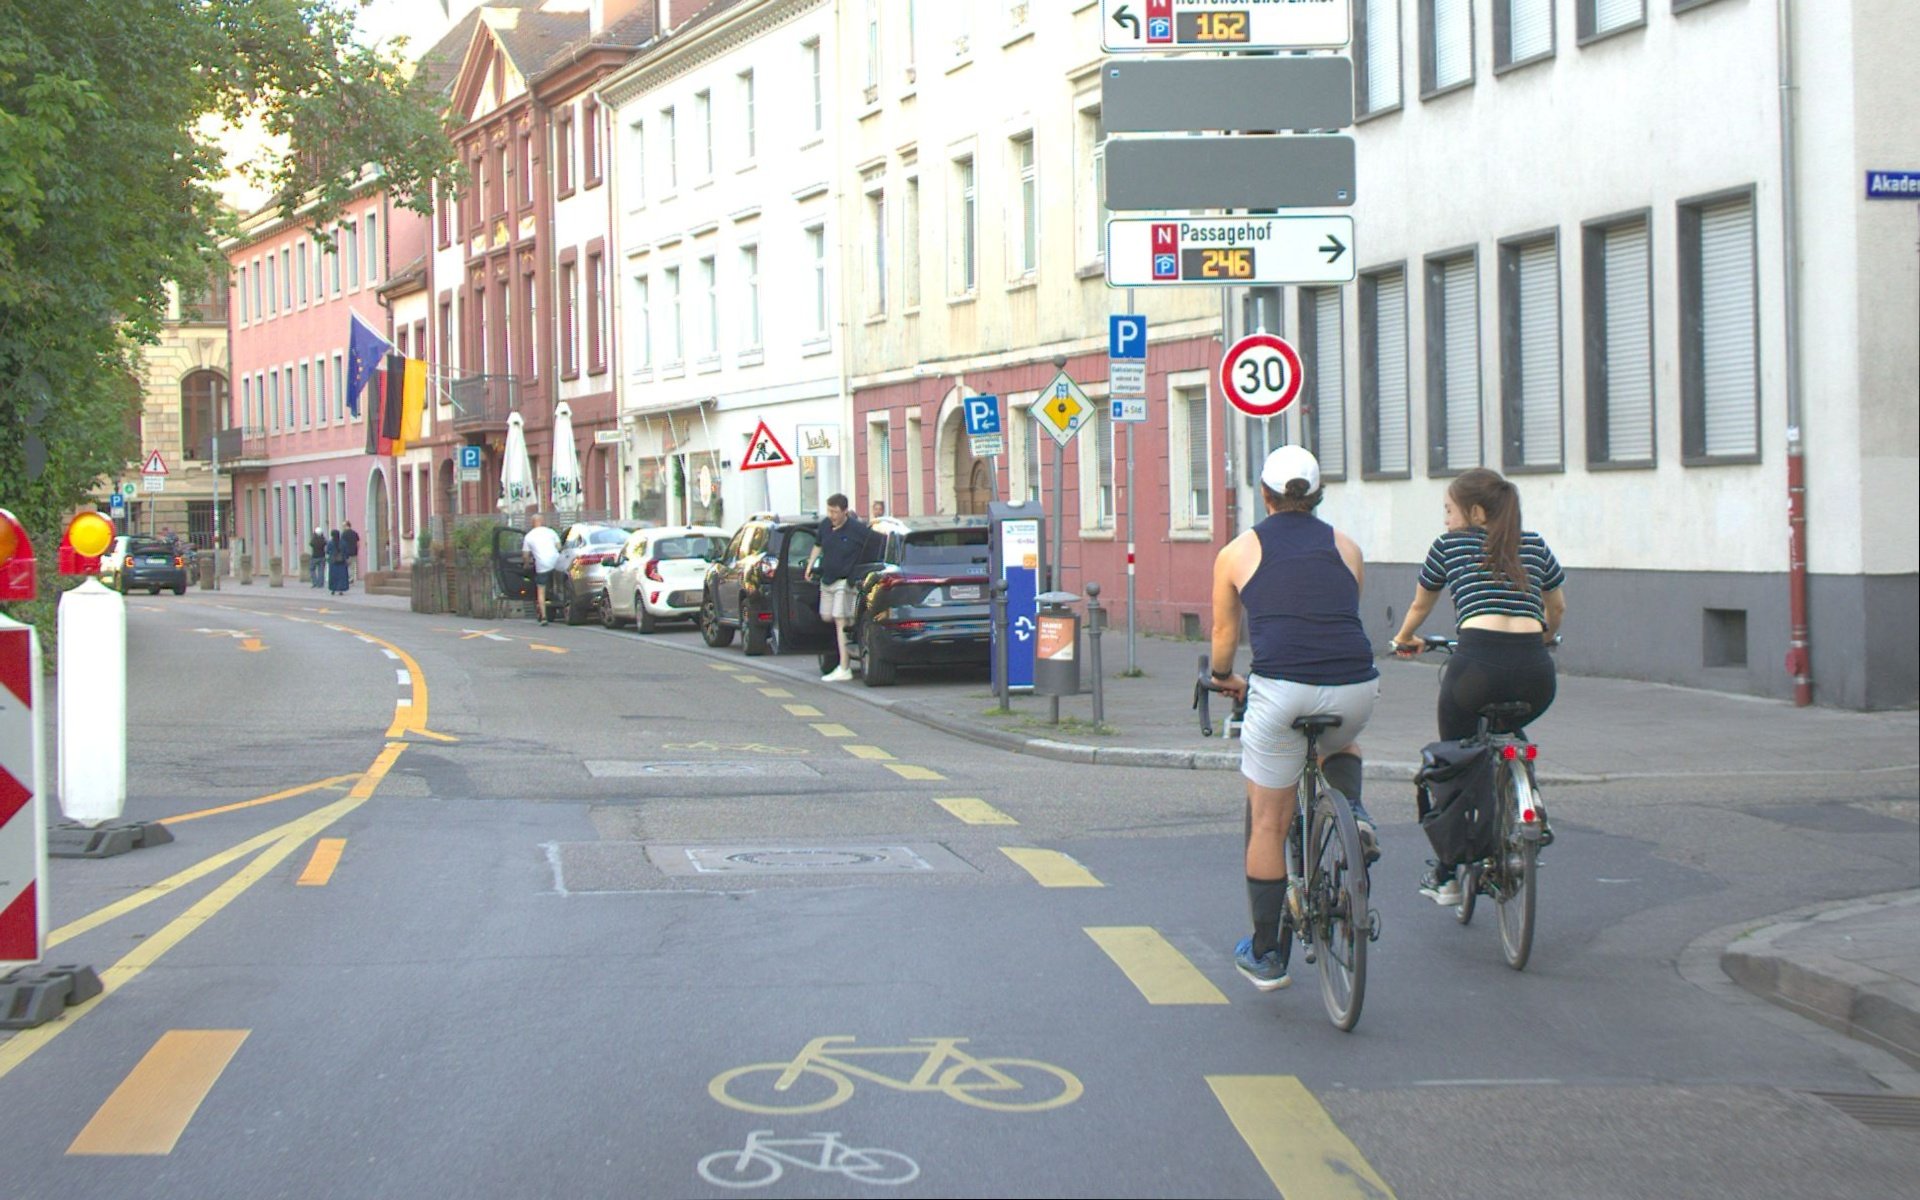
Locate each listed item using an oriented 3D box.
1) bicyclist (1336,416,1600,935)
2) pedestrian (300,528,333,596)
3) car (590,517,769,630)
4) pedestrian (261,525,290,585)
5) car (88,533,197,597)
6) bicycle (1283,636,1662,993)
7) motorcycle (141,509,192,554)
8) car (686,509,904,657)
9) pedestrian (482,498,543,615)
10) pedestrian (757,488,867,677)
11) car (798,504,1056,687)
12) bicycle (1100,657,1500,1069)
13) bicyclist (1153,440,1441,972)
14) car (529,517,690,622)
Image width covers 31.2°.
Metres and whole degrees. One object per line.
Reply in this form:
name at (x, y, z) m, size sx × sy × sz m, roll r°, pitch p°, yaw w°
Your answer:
bicyclist at (1.770, 0.245, 12.089) m, size 0.649 × 1.754 × 0.864 m, roll 1°, pitch 2°, yaw -9°
pedestrian at (-16.841, -0.993, 89.935) m, size 0.750 × 1.756 × 0.586 m, roll -1°, pitch 1°, yaw -18°
car at (-4.105, -0.413, 49.828) m, size 1.812 × 1.554 × 3.866 m, roll -1°, pitch 2°, yaw -16°
pedestrian at (-18.125, -1.202, 91.011) m, size 0.667 × 1.576 × 0.586 m, roll -1°, pitch 1°, yaw -18°
car at (-20.692, -0.914, 86.932) m, size 1.812 × 1.554 × 3.865 m, roll -1°, pitch 2°, yaw -26°
bicycle at (1.756, 0.705, 12.175) m, size 0.652 × 1.067 × 2.259 m, roll 1°, pitch 1°, yaw -9°
motorcycle at (-22.382, -1.937, 96.939) m, size 1.041 × 1.244 × 2.399 m, roll -1°, pitch 2°, yaw -21°
car at (-2.057, -0.245, 41.826) m, size 1.812 × 1.678 × 4.001 m, roll -1°, pitch 1°, yaw -15°
pedestrian at (-7.078, -0.697, 54.413) m, size 0.831 × 1.838 × 0.958 m, roll 0°, pitch 2°, yaw 0°
pedestrian at (-1.492, -0.184, 34.498) m, size 0.900 × 1.859 × 0.932 m, roll -1°, pitch 1°, yaw -15°
car at (-0.393, -0.089, 34.000) m, size 1.812 × 1.676 × 3.921 m, roll -1°, pitch 1°, yaw -12°
bicycle at (0.992, 0.746, 10.535) m, size 0.669 × 1.067 × 1.902 m, roll 0°, pitch 1°, yaw -12°
bicyclist at (1.014, 0.308, 10.477) m, size 0.668 × 1.560 × 0.699 m, roll 1°, pitch 1°, yaw -11°
car at (-5.553, -0.508, 54.147) m, size 1.812 × 1.554 × 3.866 m, roll -1°, pitch 2°, yaw -16°
